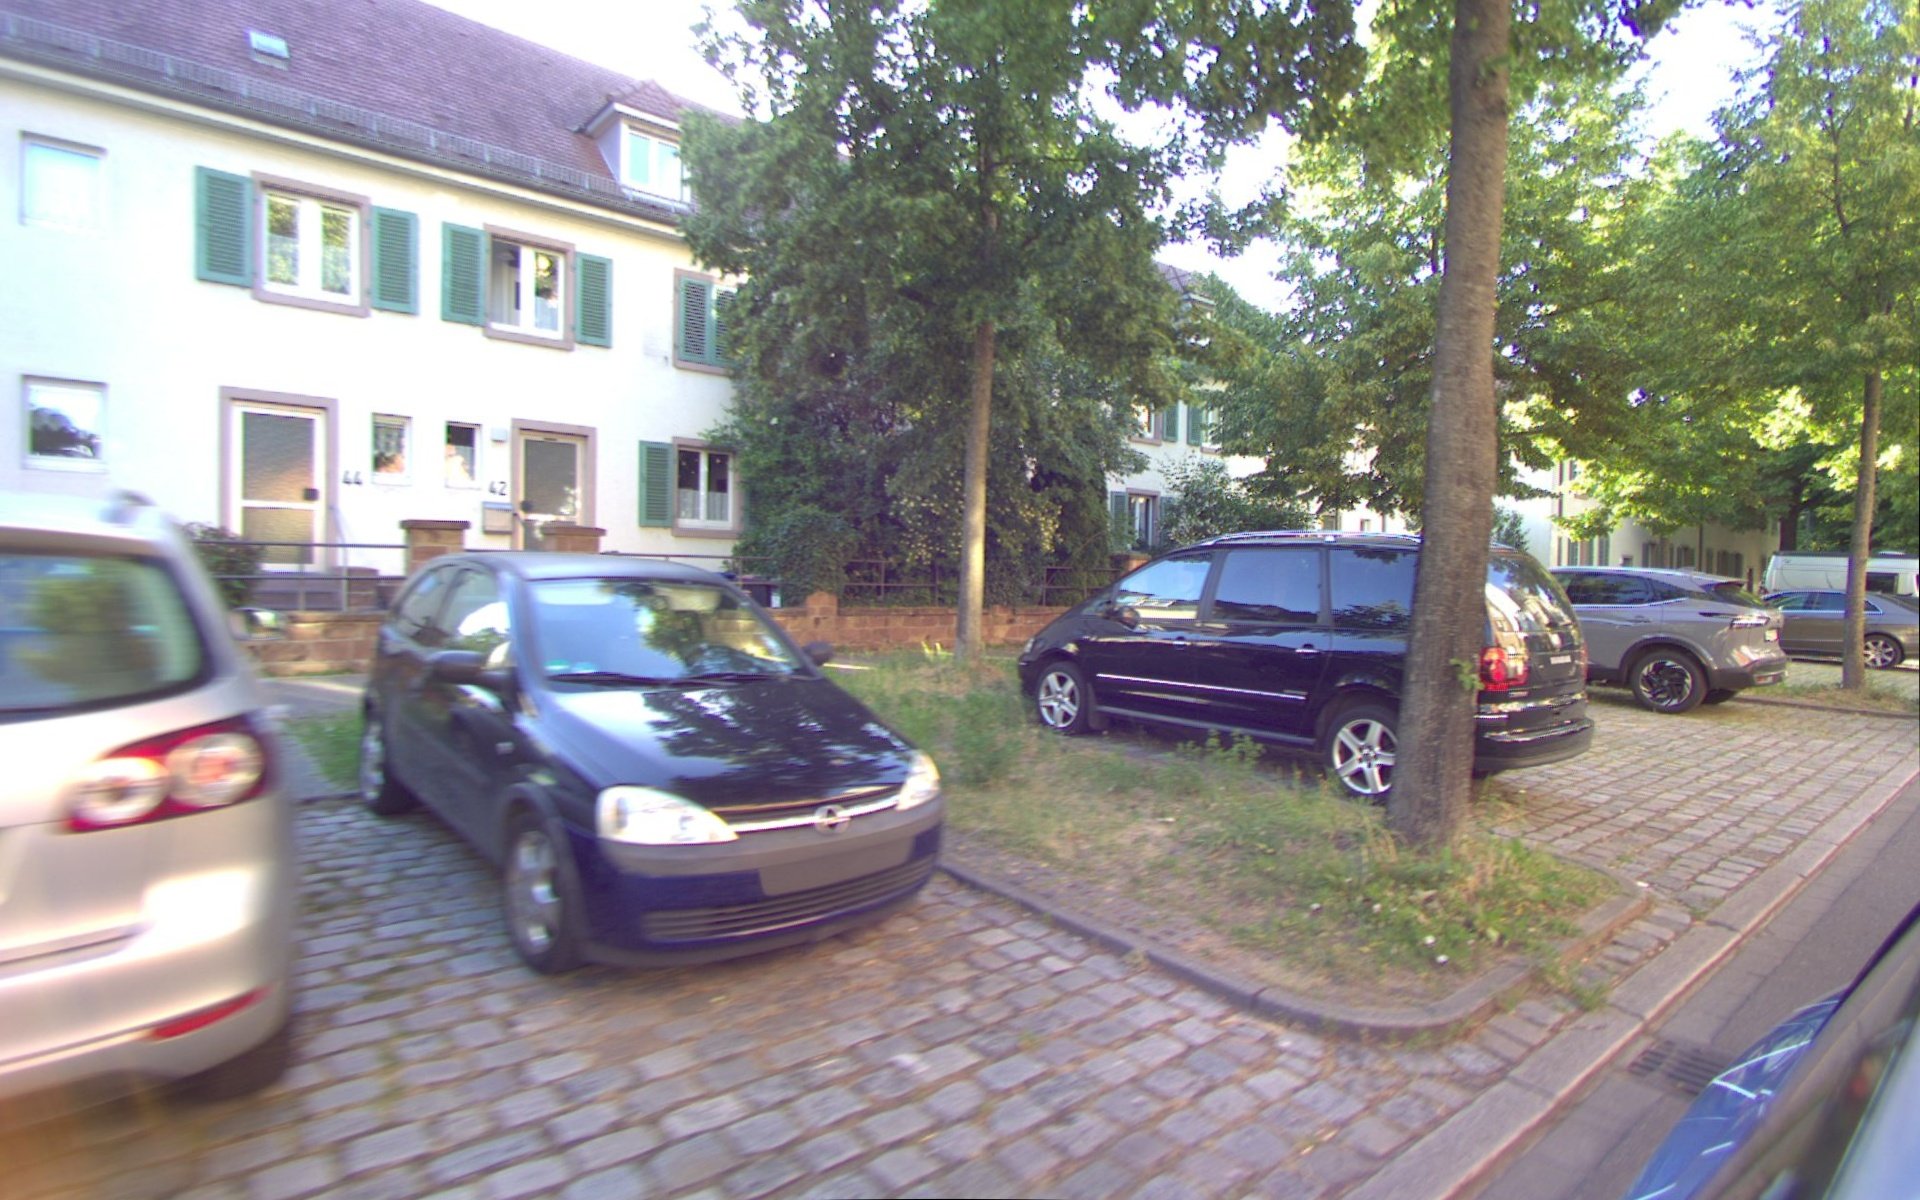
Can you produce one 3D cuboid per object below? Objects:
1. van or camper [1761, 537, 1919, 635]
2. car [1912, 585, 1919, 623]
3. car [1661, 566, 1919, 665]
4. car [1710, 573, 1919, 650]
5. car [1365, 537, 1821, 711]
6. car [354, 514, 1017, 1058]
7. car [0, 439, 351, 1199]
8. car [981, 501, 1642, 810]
[{"bbox_3d":[26.815,-0.379,28.907,2.124,2.546,5.734,0,5,-40],"label":"van or camper"},{"bbox_3d":[41.617,0.257,41.199,1.528,1.571,3.996,0,2,-40],"label":"car"},{"bbox_3d":[17.010,0.266,19.995,1.862,1.557,4.848,0,5,-42],"label":"car"},{"bbox_3d":[20.963,0.240,24.229,1.795,1.453,4.488,0,5,-40],"label":"car"},{"bbox_3d":[7.755,0.141,12.810,1.842,1.653,4.487,0,5,-41],"label":"car"},{"bbox_3d":[-1.602,0.404,4.760,1.561,1.471,3.732,0,5,-40],"label":"car"},{"bbox_3d":[-3.274,0.355,3.426,1.659,1.653,4.288,0,5,-37],"label":"car"},{"bbox_3d":[2.369,0.138,8.009,1.872,1.697,4.596,0,5,-38],"label":"car"}]
